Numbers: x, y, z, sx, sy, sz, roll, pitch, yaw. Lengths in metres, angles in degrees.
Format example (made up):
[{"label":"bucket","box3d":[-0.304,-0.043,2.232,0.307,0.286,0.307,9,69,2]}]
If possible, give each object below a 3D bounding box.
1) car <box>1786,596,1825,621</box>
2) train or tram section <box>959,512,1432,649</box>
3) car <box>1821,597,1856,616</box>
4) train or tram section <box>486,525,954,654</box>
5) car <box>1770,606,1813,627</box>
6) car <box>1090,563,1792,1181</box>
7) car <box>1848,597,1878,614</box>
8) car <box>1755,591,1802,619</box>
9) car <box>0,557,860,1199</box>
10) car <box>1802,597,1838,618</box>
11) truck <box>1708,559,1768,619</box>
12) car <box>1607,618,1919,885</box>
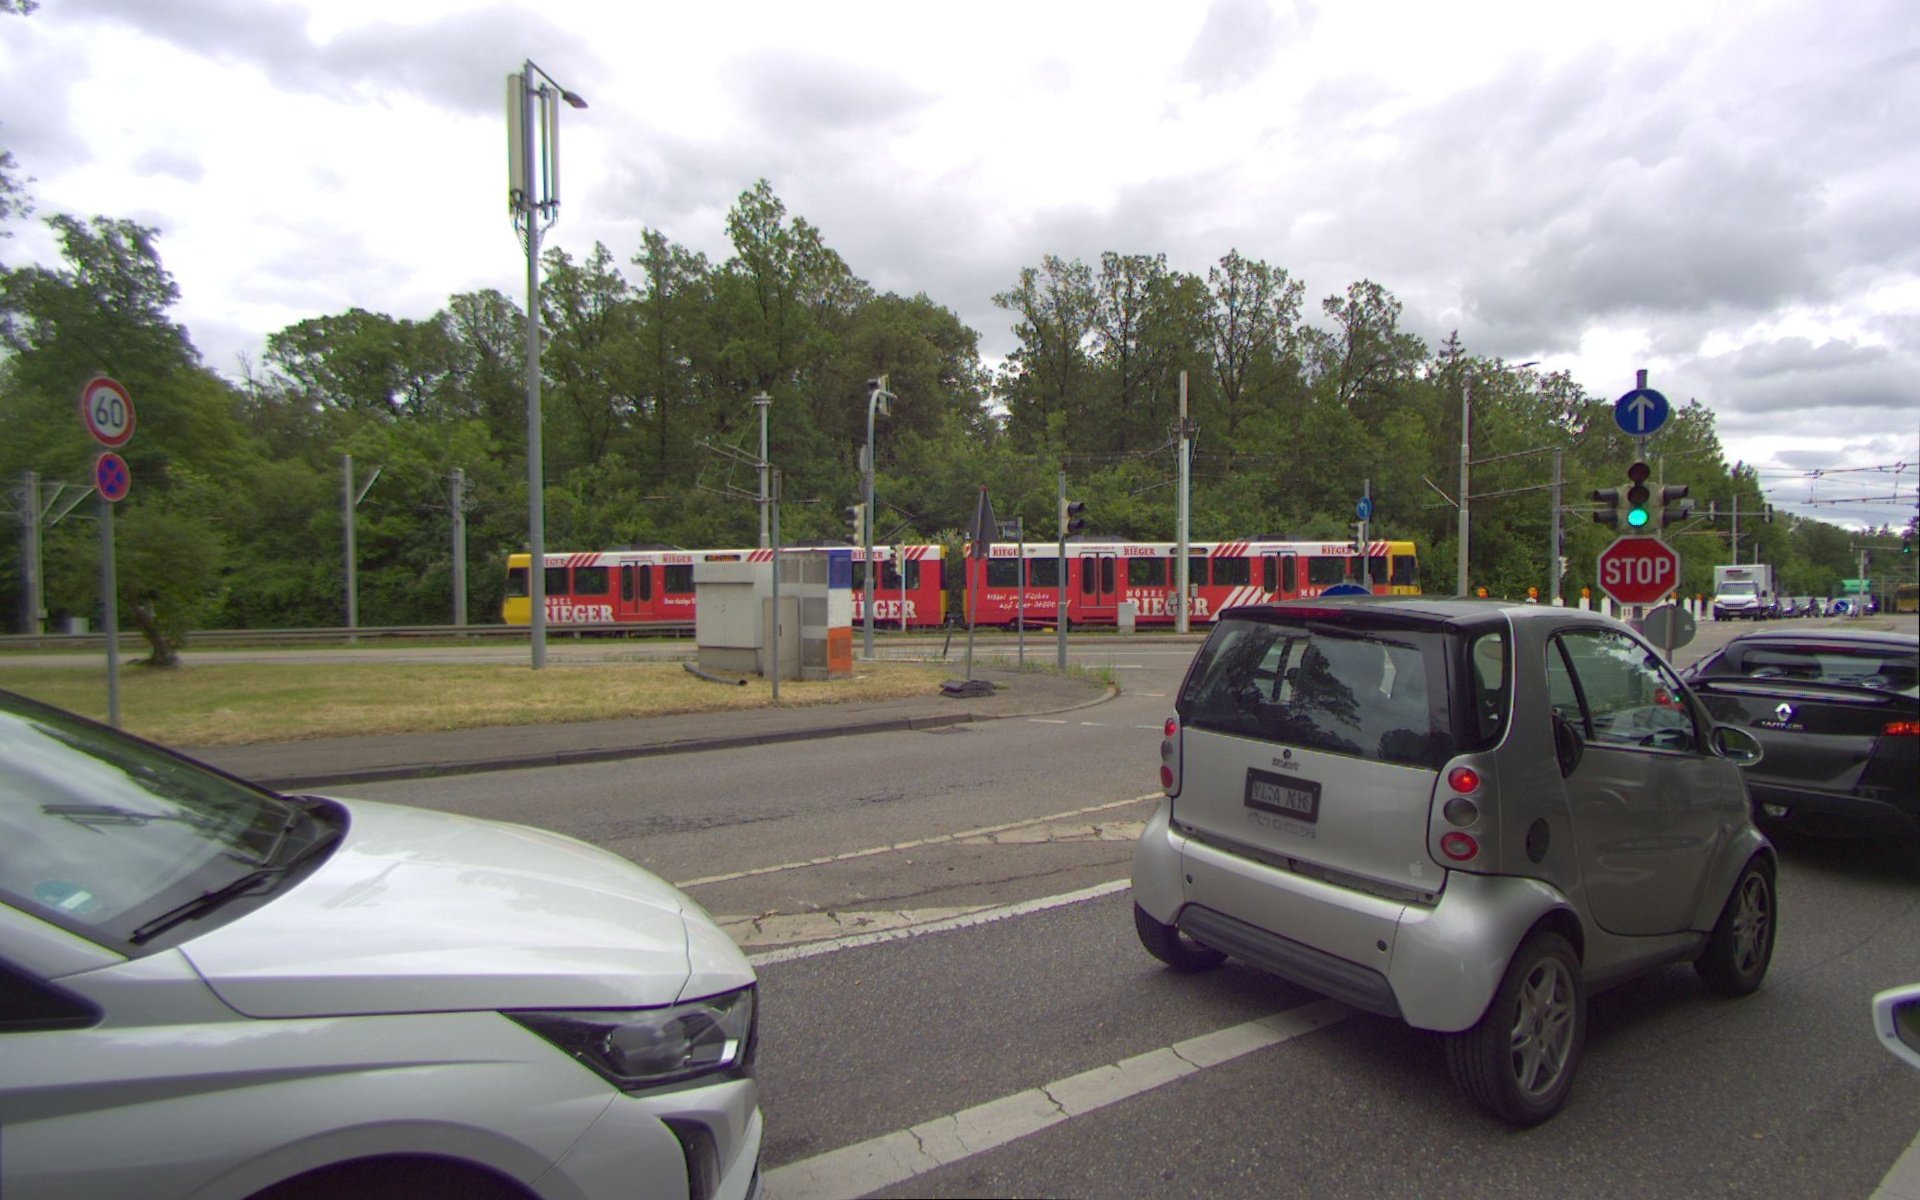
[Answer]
[{"label":"car","box3d":[65.725,0.655,78.042,1.942,1.869,4.660,1,1,45]},{"label":"train or tram section","box3d":[9.136,-0.720,40.146,18.185,4.712,2.955,2,0,-2]},{"label":"car","box3d":[74.961,0.514,85.686,1.942,1.562,4.368,1,1,45]},{"label":"train or tram section","box3d":[-9.589,-0.464,40.593,18.350,4.477,2.967,2,0,6]},{"label":"car","box3d":[59.765,1.183,72.170,1.942,1.380,4.660,1,1,45]},{"label":"car","box3d":[1.996,0.715,4.008,2.701,1.607,1.447,0,0,-36]},{"label":"car","box3d":[85.009,0.468,94.543,1.942,1.561,4.283,1,1,45]},{"label":"car","box3d":[54.128,0.283,66.399,1.942,1.773,4.815,1,1,45]},{"label":"car","box3d":[-2.328,0.698,1.610,4.022,1.499,1.643,0,0,-28]},{"label":"car","box3d":[70.278,0.611,82.081,1.942,1.628,4.283,1,1,45]},{"label":"truck","box3d":[45.150,-0.583,58.238,2.420,3.267,7.120,0,0,41]},{"label":"car","box3d":[6.046,0.836,6.938,3.448,1.380,1.759,0,0,-41]}]
